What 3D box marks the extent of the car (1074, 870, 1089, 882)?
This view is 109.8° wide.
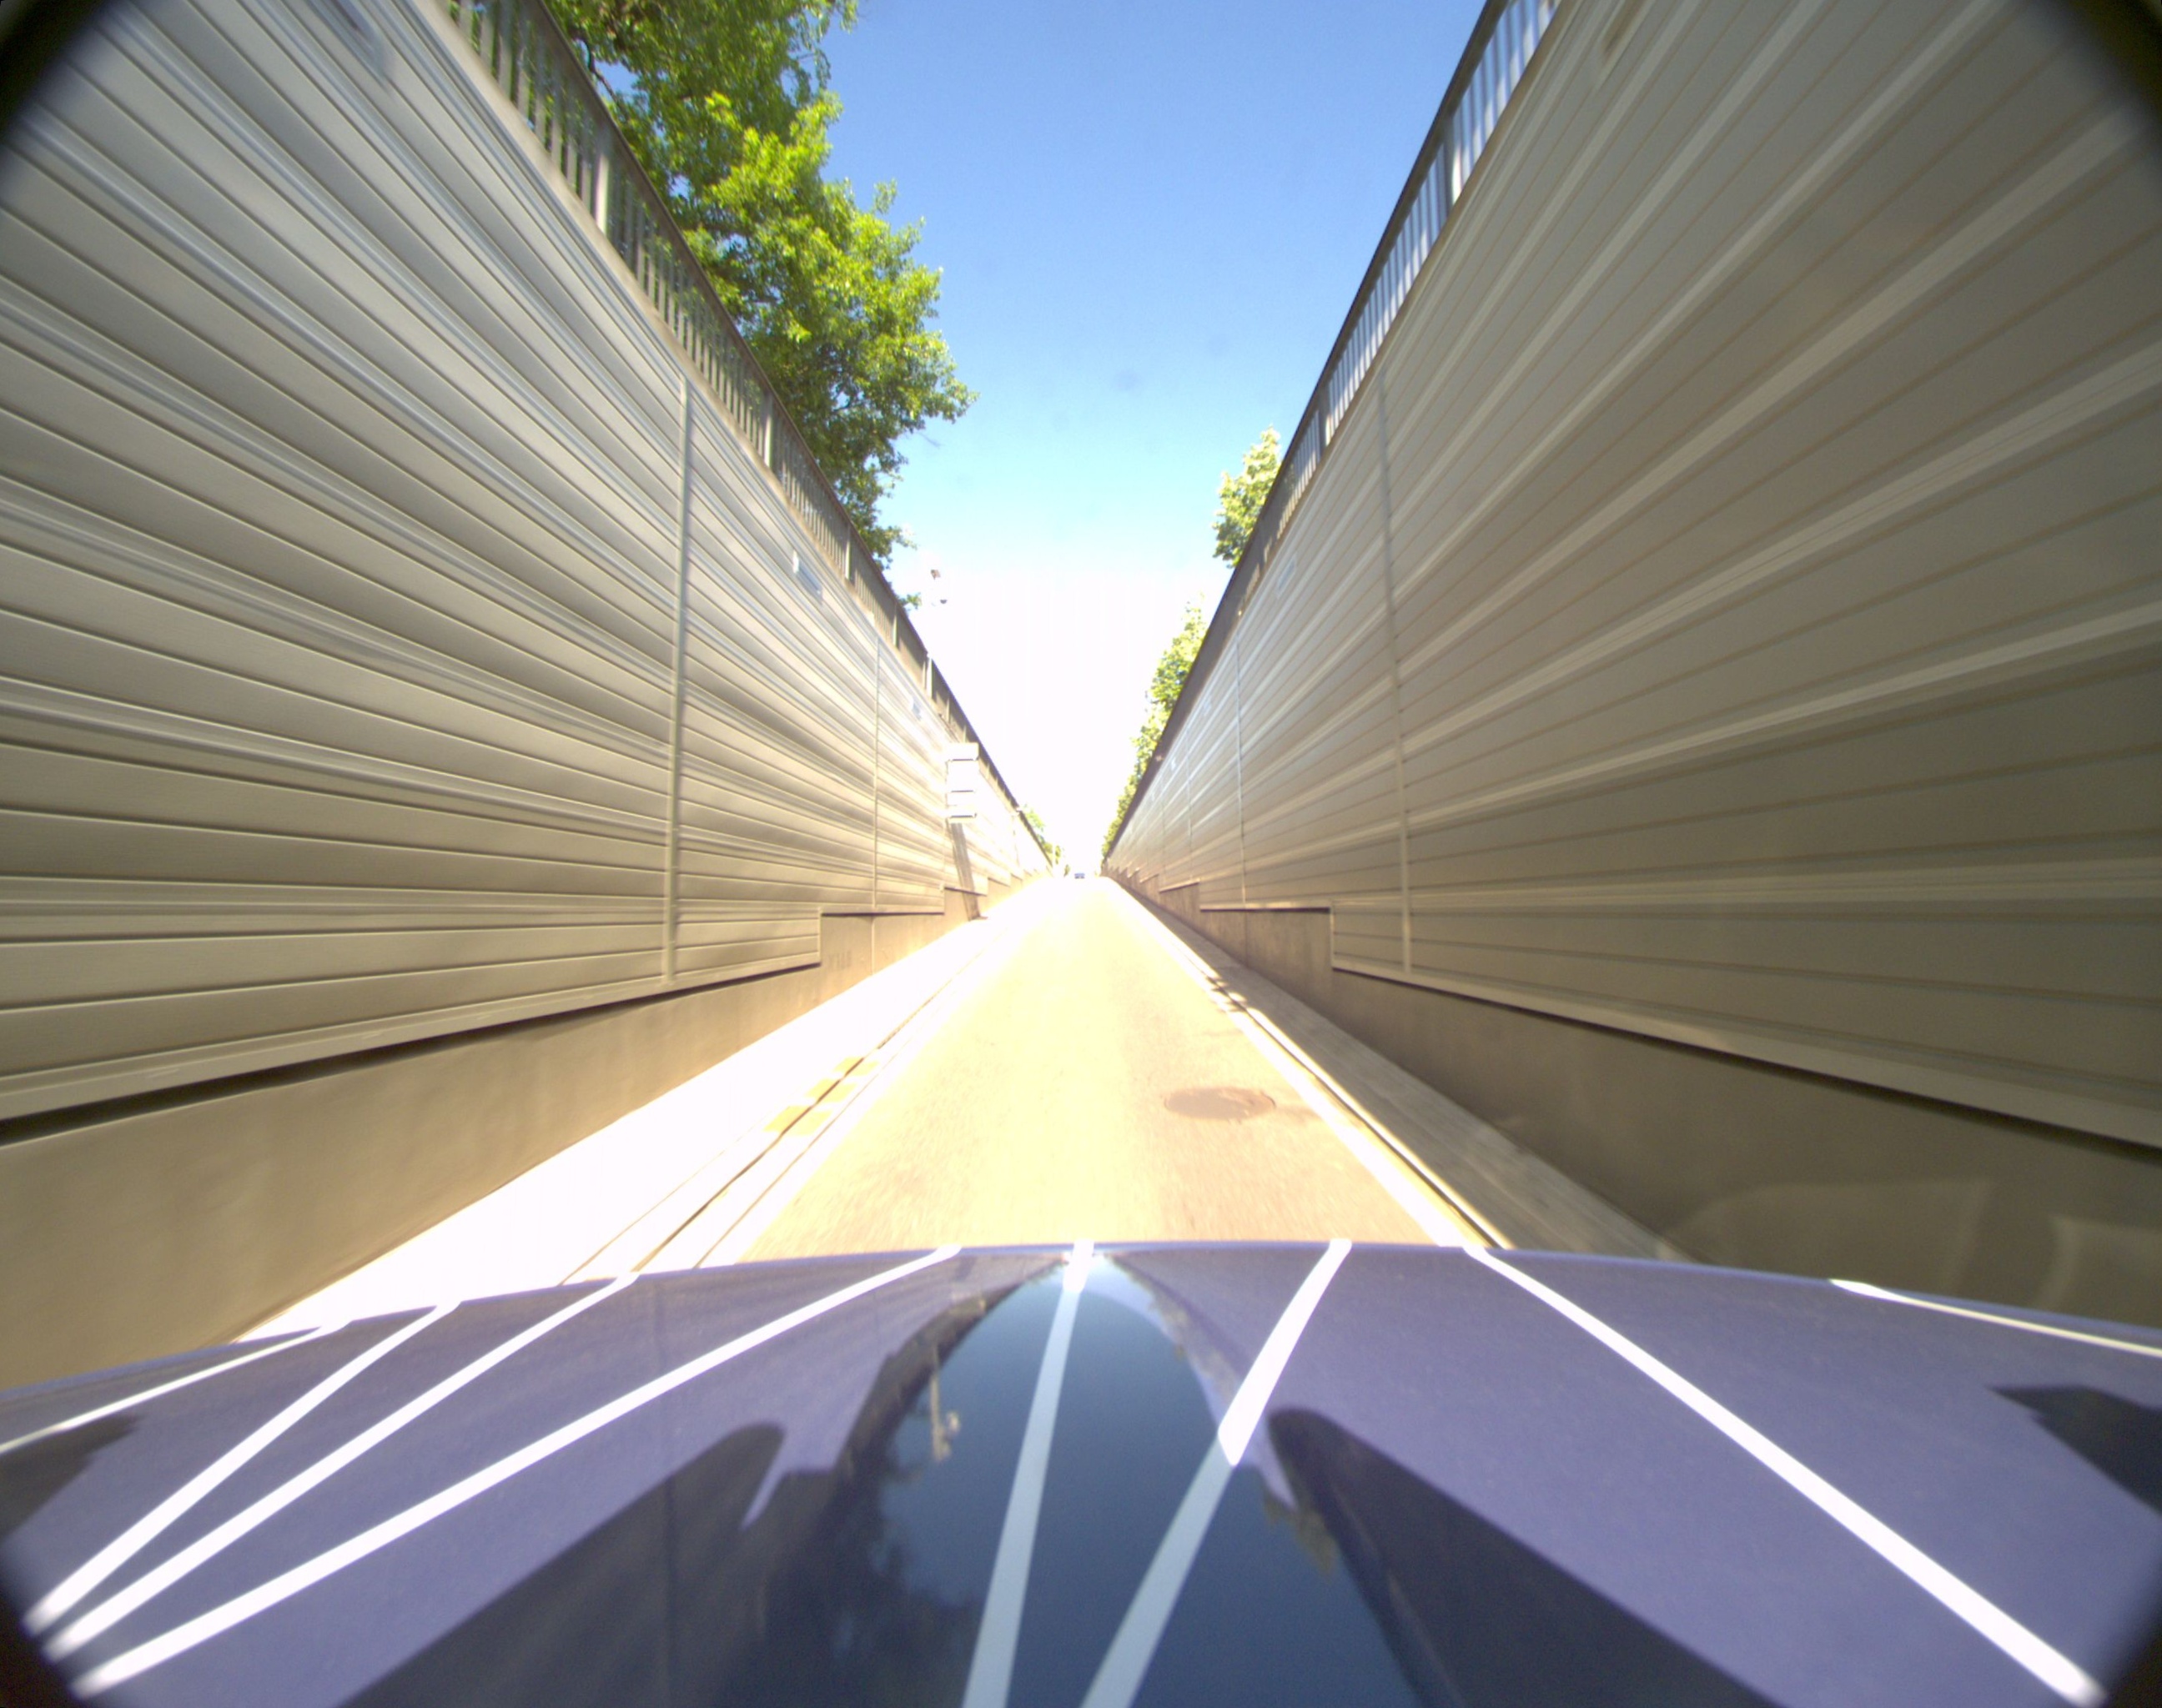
[{"bbox_3d":[0.068,2.782,97.292,1.829,1.327,4.003,-2,-4,1],"label":"car"}]
